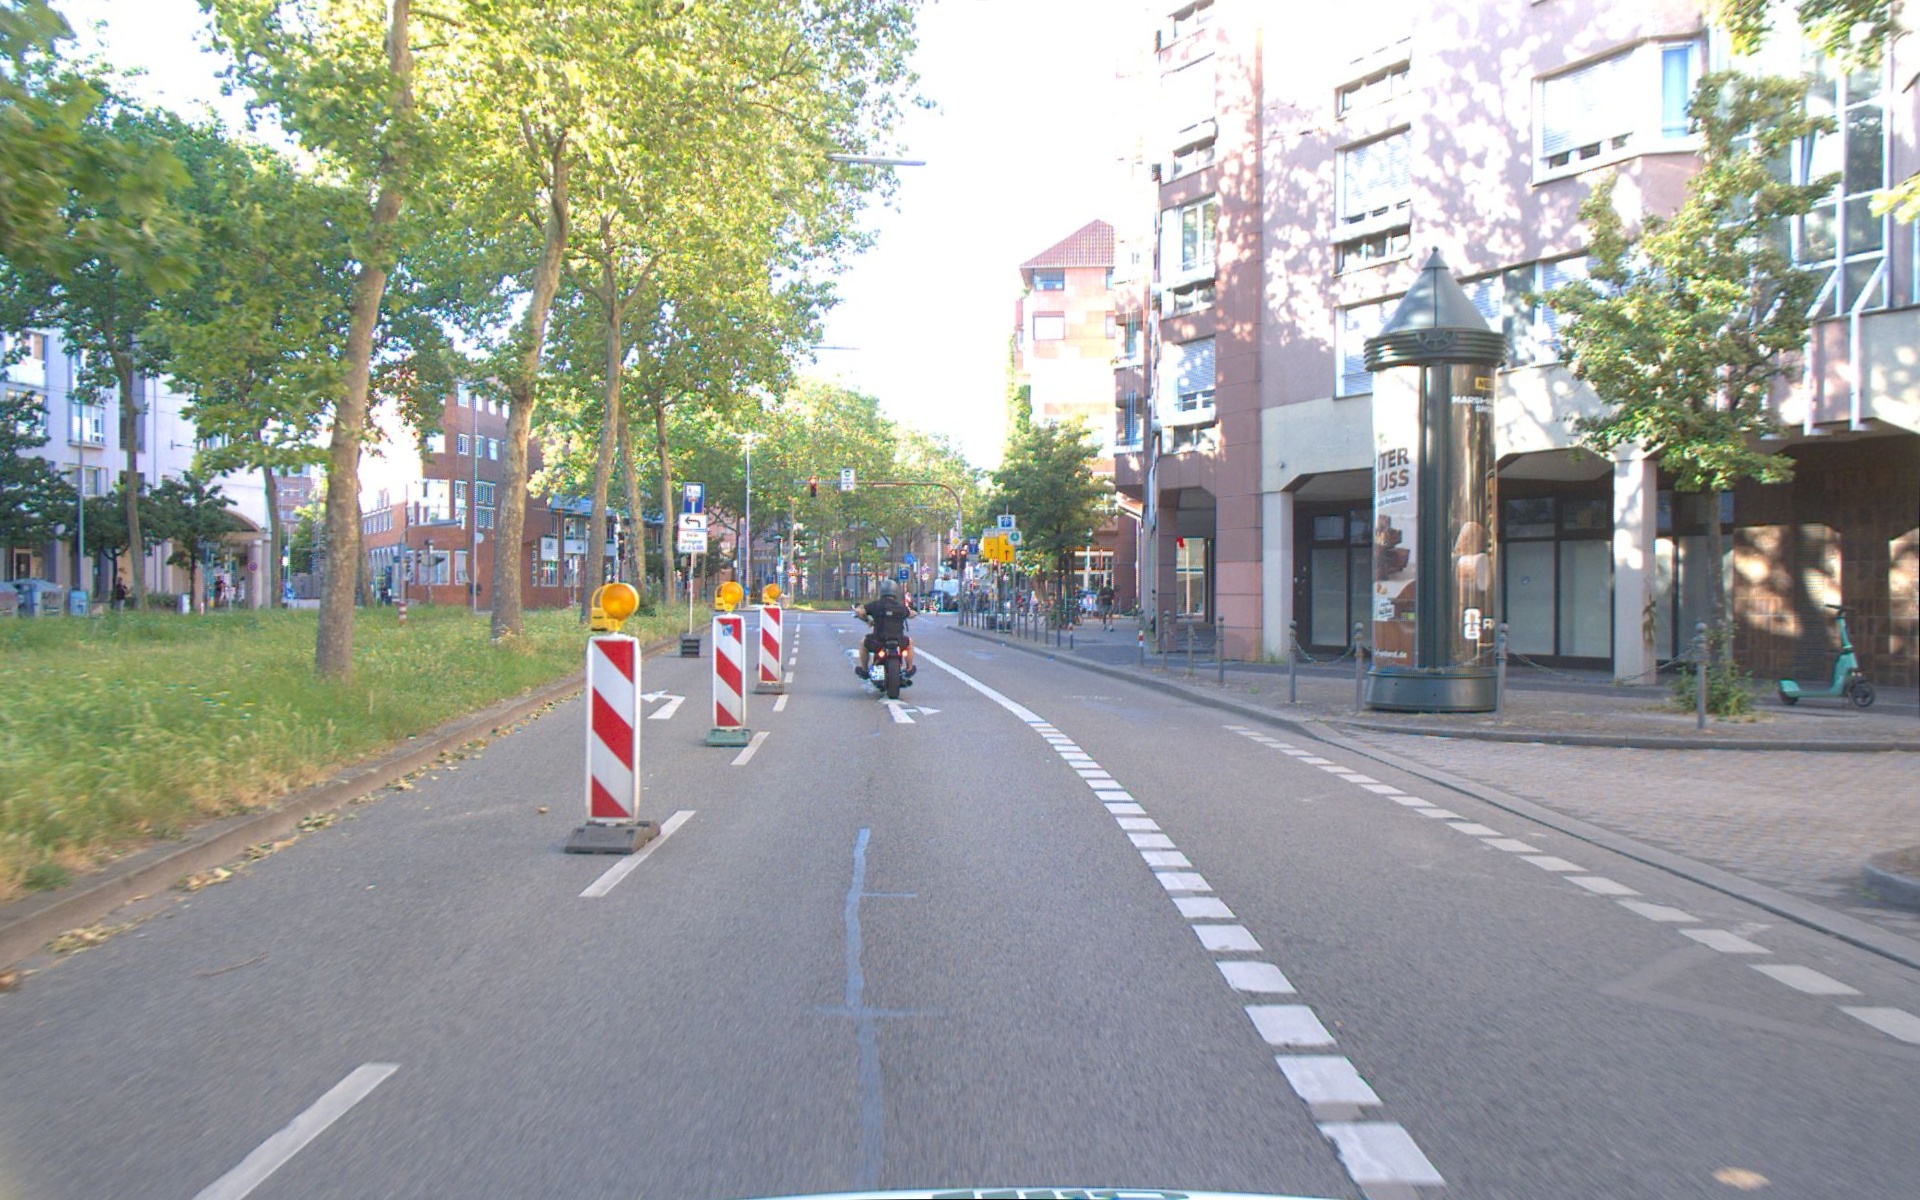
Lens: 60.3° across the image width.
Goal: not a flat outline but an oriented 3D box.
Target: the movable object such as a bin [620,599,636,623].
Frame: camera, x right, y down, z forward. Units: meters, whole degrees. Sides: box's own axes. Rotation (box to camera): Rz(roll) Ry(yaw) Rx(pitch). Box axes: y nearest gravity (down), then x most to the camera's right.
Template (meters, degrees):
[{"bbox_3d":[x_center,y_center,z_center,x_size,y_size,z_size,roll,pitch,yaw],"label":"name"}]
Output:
[{"bbox_3d":[-13.917,0.465,69.397,0.499,0.970,0.540,0,0,8],"label":"movable object such as a bin"}]

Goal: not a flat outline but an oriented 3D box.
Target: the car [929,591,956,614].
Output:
[{"bbox_3d":[-1.295,0.191,123.030,1.586,1.647,4.487,0,0,5],"label":"car"}]

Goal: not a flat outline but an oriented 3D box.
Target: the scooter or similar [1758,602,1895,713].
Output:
[{"bbox_3d":[10.128,0.646,19.373,0.478,1.238,1.439,0,0,-24],"label":"scooter or similar"}]

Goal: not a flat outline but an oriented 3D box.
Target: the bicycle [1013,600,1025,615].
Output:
[{"bbox_3d":[3.773,0.458,105.837,0.722,0.956,1.752,0,0,-1],"label":"bicycle"}]

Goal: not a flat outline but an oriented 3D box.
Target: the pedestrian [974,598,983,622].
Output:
[{"bbox_3d":[1.291,0.683,114.553,0.631,1.606,0.748,0,0,-1],"label":"pedestrian"}]

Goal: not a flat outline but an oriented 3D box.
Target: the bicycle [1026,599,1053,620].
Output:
[{"bbox_3d":[4.693,0.562,97.564,1.535,1.248,0.578,0,0,1],"label":"bicycle"}]

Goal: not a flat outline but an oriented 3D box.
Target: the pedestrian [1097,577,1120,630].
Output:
[{"bbox_3d":[5.053,0.115,56.336,0.764,1.769,0.837,0,0,4],"label":"pedestrian"}]

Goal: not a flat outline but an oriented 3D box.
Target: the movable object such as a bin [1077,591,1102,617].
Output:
[{"bbox_3d":[7.443,0.233,94.997,1.380,1.508,0.872,0,0,7],"label":"movable object such as a bin"}]

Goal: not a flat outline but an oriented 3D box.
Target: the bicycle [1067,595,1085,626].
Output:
[{"bbox_3d":[4.661,0.411,66.258,0.608,1.247,1.928,0,0,8],"label":"bicycle"}]

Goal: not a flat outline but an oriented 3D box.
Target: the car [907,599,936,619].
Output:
[{"bbox_3d":[-2.606,0.593,113.043,1.586,1.325,4.314,0,0,4],"label":"car"}]

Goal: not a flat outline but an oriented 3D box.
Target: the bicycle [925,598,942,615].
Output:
[{"bbox_3d":[-1.678,0.391,106.043,0.724,1.071,1.746,0,0,-14],"label":"bicycle"}]

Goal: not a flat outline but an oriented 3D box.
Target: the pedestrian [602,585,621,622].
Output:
[{"bbox_3d":[-14.570,0.151,69.112,0.605,1.530,0.535,0,0,19],"label":"pedestrian"}]

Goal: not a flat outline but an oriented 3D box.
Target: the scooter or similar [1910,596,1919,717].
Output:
[{"bbox_3d":[10.722,0.611,17.229,0.478,1.296,1.439,0,0,-24],"label":"scooter or similar"}]

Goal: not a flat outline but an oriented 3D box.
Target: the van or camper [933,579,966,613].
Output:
[{"bbox_3d":[-0.794,-0.316,129.817,2.005,2.585,5.776,0,0,5],"label":"van or camper"}]

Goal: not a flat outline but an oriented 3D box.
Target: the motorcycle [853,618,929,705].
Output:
[{"bbox_3d":[-0.980,0.826,23.035,0.998,1.116,2.006,0,0,-4],"label":"motorcycle"}]

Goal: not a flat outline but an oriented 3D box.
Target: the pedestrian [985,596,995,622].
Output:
[{"bbox_3d":[2.066,0.639,114.532,0.686,1.764,0.767,0,0,-1],"label":"pedestrian"}]

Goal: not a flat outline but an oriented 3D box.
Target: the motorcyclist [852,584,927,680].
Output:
[{"bbox_3d":[-0.987,0.440,23.126,0.991,1.285,0.773,2,0,-3],"label":"motorcyclist"}]

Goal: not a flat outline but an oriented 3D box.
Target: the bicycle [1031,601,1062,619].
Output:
[{"bbox_3d":[5.258,0.621,100.683,1.711,1.071,0.739,0,0,23],"label":"bicycle"}]

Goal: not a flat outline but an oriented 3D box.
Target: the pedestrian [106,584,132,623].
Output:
[{"bbox_3d":[-35.944,0.149,70.692,0.692,1.667,0.789,0,0,6],"label":"pedestrian"}]

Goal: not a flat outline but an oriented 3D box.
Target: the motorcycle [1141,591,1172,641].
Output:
[{"bbox_3d":[5.634,0.454,47.462,0.478,1.396,2.088,0,0,-4],"label":"motorcycle"}]

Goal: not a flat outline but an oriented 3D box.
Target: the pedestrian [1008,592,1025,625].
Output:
[{"bbox_3d":[3.053,0.453,88.956,0.773,1.794,0.607,0,0,-18],"label":"pedestrian"}]

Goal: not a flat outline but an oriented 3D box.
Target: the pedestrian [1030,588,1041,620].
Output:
[{"bbox_3d":[4.042,0.225,88.754,0.451,1.702,0.678,0,0,-13],"label":"pedestrian"}]

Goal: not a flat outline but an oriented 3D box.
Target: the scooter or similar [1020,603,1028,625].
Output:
[{"bbox_3d":[3.428,0.754,88.889,0.386,1.178,1.249,0,0,1],"label":"scooter or similar"}]
